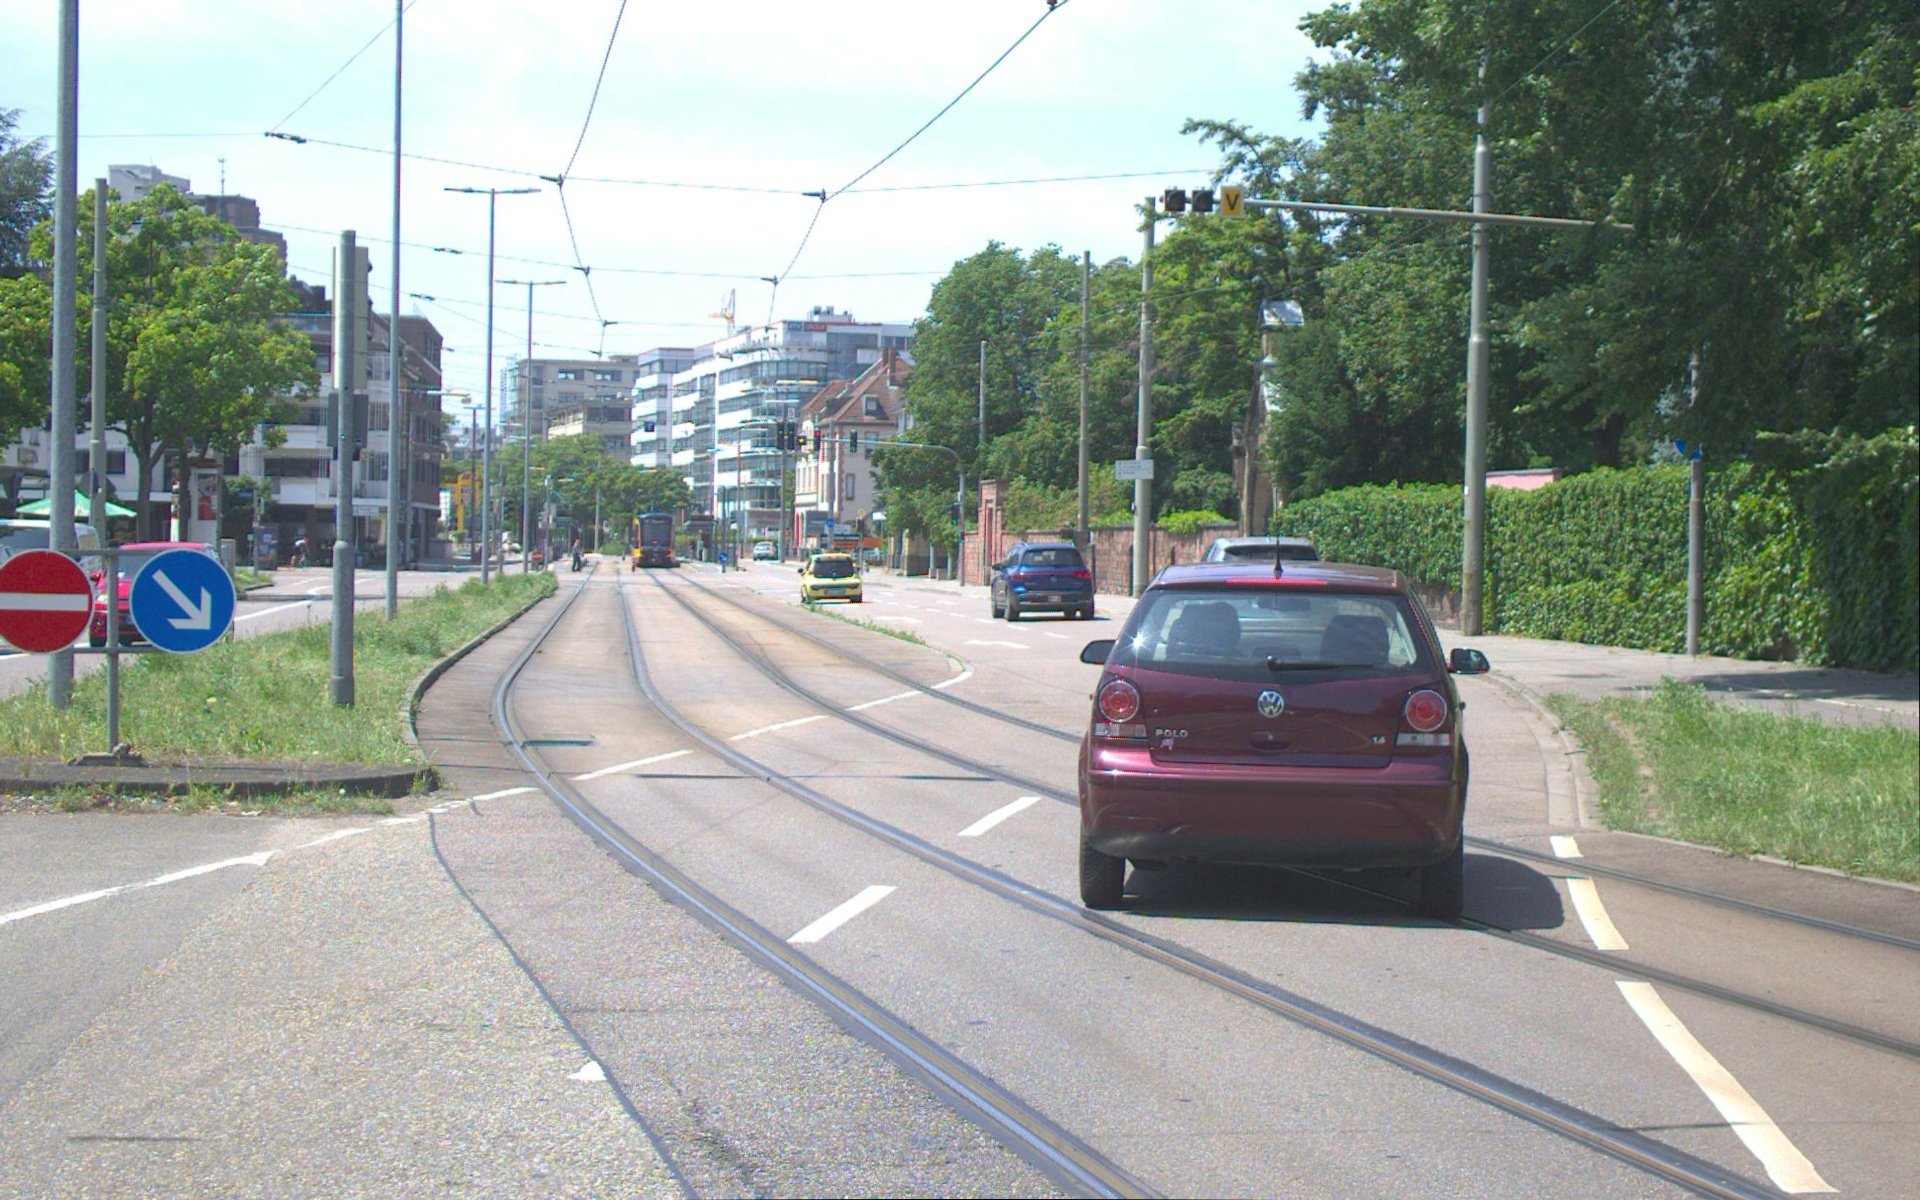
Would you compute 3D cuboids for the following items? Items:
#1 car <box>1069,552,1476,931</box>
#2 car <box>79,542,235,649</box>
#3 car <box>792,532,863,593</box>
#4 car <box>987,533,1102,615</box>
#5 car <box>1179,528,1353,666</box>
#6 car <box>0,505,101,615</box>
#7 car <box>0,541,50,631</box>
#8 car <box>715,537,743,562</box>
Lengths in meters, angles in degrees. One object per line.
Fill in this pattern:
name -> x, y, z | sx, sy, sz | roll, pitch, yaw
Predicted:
car -> 1.406, 0.531, 15.651 | 1.610, 1.493, 3.999 | 0, 1, 5
car -> -11.081, -0.087, 47.603 | 1.657, 1.405, 3.607 | -1, 1, -6
car -> -3.883, -1.116, 100.327 | 1.795, 1.677, 4.001 | 2, 1, -5
car -> 1.773, -0.576, 73.490 | 1.773, 1.625, 4.001 | 2, 1, -8
car -> 3.982, -0.075, 45.280 | 1.795, 1.677, 4.000 | 2, 1, -1
car -> -17.254, -0.764, 63.620 | 1.875, 1.958, 5.166 | 0, 1, -6
car -> -16.498, -0.281, 57.570 | 1.631, 1.415, 3.867 | 3, 1, -3
car -> -12.510, -2.737, 186.074 | 1.353, 1.248, 2.973 | 2, 1, -5
